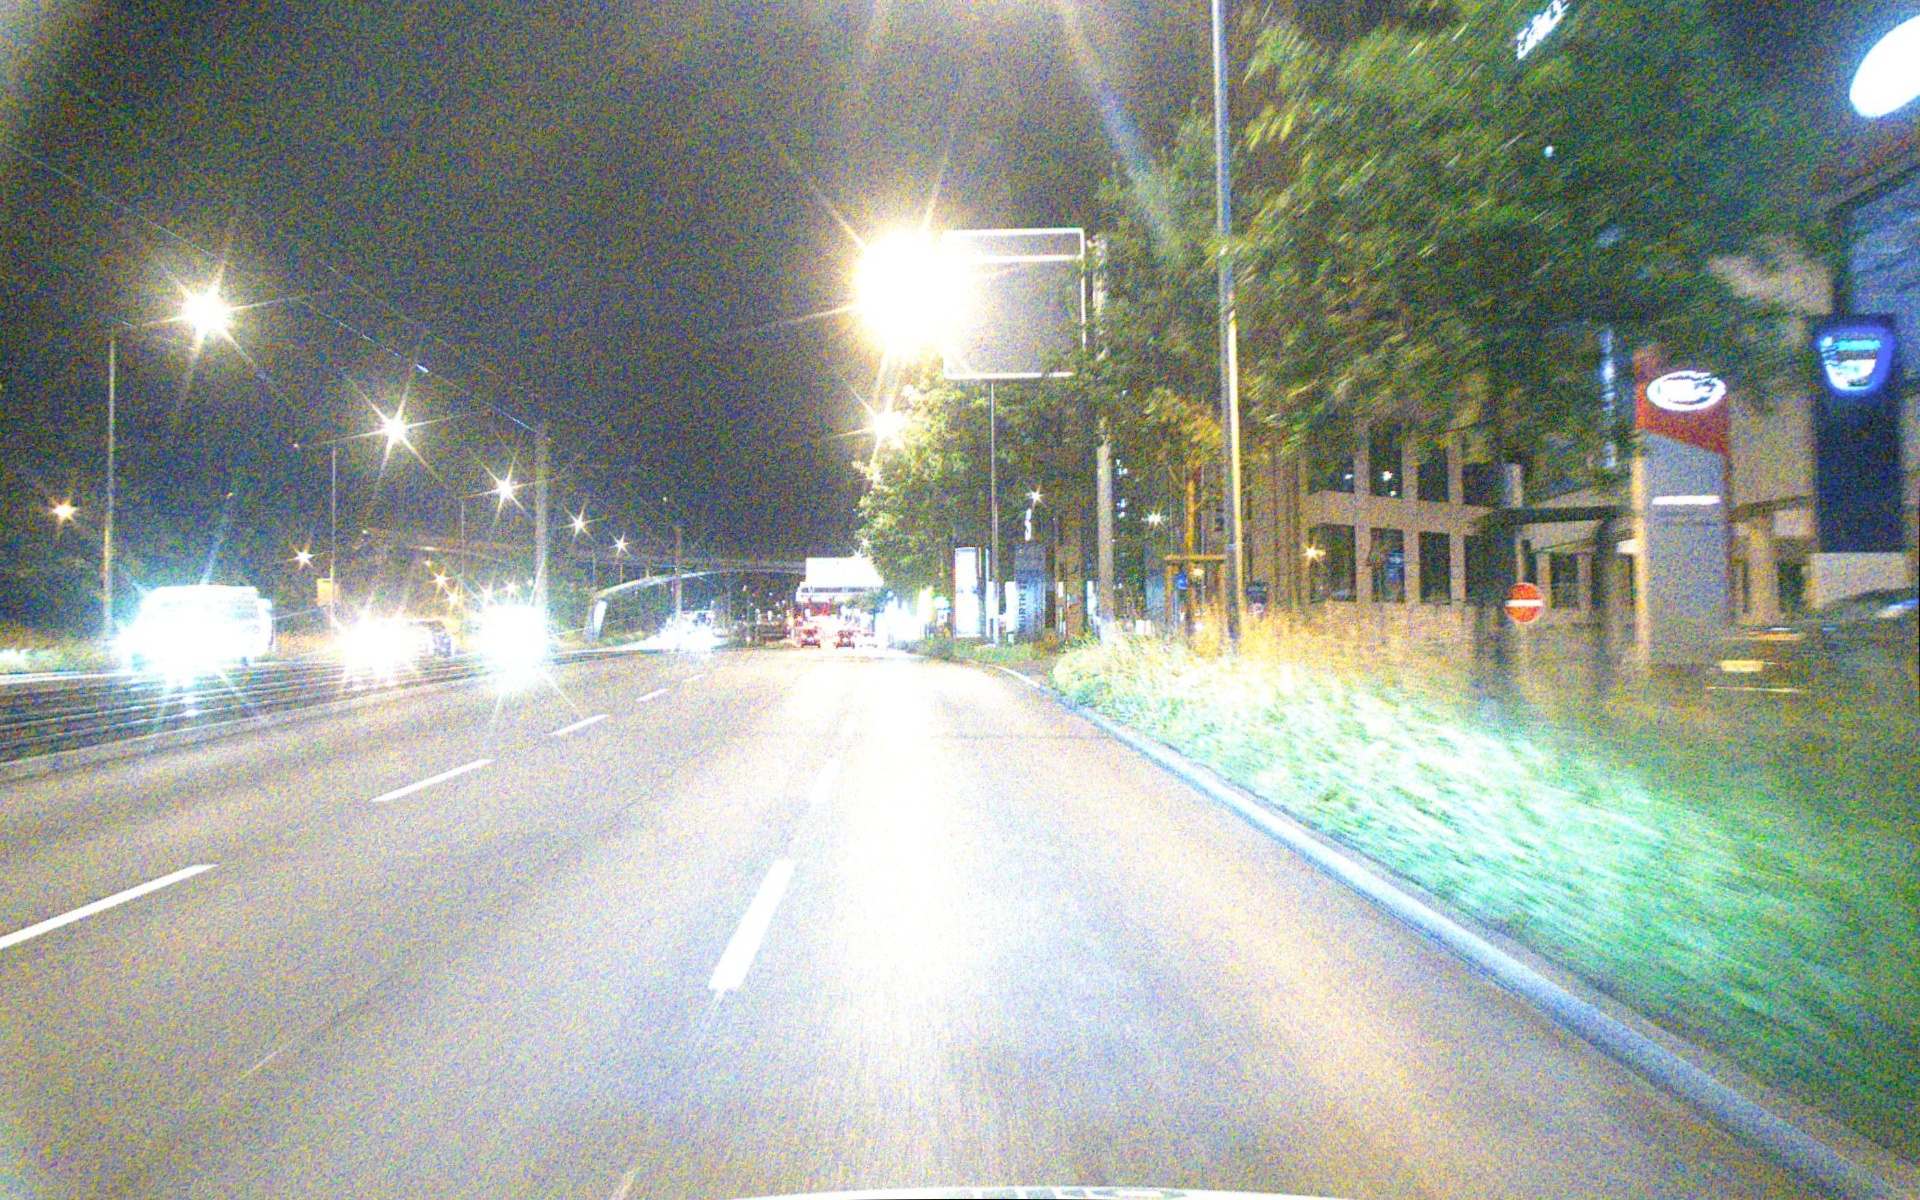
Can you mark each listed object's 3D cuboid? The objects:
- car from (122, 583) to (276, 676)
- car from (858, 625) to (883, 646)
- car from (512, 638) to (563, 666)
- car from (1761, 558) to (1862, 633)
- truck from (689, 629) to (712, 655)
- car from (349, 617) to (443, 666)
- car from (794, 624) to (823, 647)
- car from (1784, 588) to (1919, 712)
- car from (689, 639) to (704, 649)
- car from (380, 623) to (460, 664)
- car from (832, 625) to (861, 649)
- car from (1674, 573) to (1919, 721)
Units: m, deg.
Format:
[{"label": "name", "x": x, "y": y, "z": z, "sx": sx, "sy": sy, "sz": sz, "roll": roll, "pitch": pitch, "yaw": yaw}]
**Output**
[{"label": "car", "x": -24.424, "y": 0.953, "z": 53.452, "sx": 2.103, "sy": 2.718, "sz": 6.955, "roll": -3, "pitch": -1, "yaw": -4}, {"label": "car", "x": -9.352, "y": 3.659, "z": 172.572, "sx": 2.378, "sy": 2.150, "sz": 4.824, "roll": 0, "pitch": -1, "yaw": -1}, {"label": "car", "x": -23.497, "y": 2.877, "z": 92.105, "sx": 1.829, "sy": 1.454, "sz": 4.953, "roll": 1, "pitch": -1, "yaw": -3}, {"label": "car", "x": 26.596, "y": -0.168, "z": 51.605, "sx": 1.605, "sy": 1.686, "sz": 3.978, "roll": -9, "pitch": 1, "yaw": 44}, {"label": "truck", "x": -40.495, "y": 6.557, "z": 258.216, "sx": 2.981, "sy": 3.886, "sz": 4.931, "roll": 0, "pitch": -1, "yaw": -4}, {"label": "car", "x": -17.961, "y": 1.299, "z": 52.850, "sx": 1.587, "sy": 1.465, "sz": 4.336, "roll": -2, "pitch": -1, "yaw": -2}, {"label": "car", "x": -13.857, "y": 3.202, "z": 151.532, "sx": 2.216, "sy": 2.049, "sz": 4.824, "roll": 0, "pitch": -1, "yaw": -1}, {"label": "car", "x": 16.702, "y": 0.841, "z": 28.282, "sx": 1.955, "sy": 2.049, "sz": 5.620, "roll": 0, "pitch": -1, "yaw": -6}, {"label": "car", "x": -38.496, "y": 6.422, "z": 242.083, "sx": 1.873, "sy": 1.499, "sz": 3.768, "roll": 0, "pitch": -1, "yaw": -5}, {"label": "car", "x": -21.771, "y": 1.715, "z": 66.844, "sx": 1.825, "sy": 1.540, "sz": 4.611, "roll": -2, "pitch": -1, "yaw": -2}, {"label": "car", "x": -10.116, "y": 3.277, "z": 147.405, "sx": 2.308, "sy": 2.166, "sz": 4.824, "roll": 0, "pitch": -1, "yaw": -1}, {"label": "car", "x": 9.931, "y": 0.492, "z": 17.560, "sx": 4.052, "sy": 1.445, "sz": 1.870, "roll": 1, "pitch": -1, "yaw": -14}]
